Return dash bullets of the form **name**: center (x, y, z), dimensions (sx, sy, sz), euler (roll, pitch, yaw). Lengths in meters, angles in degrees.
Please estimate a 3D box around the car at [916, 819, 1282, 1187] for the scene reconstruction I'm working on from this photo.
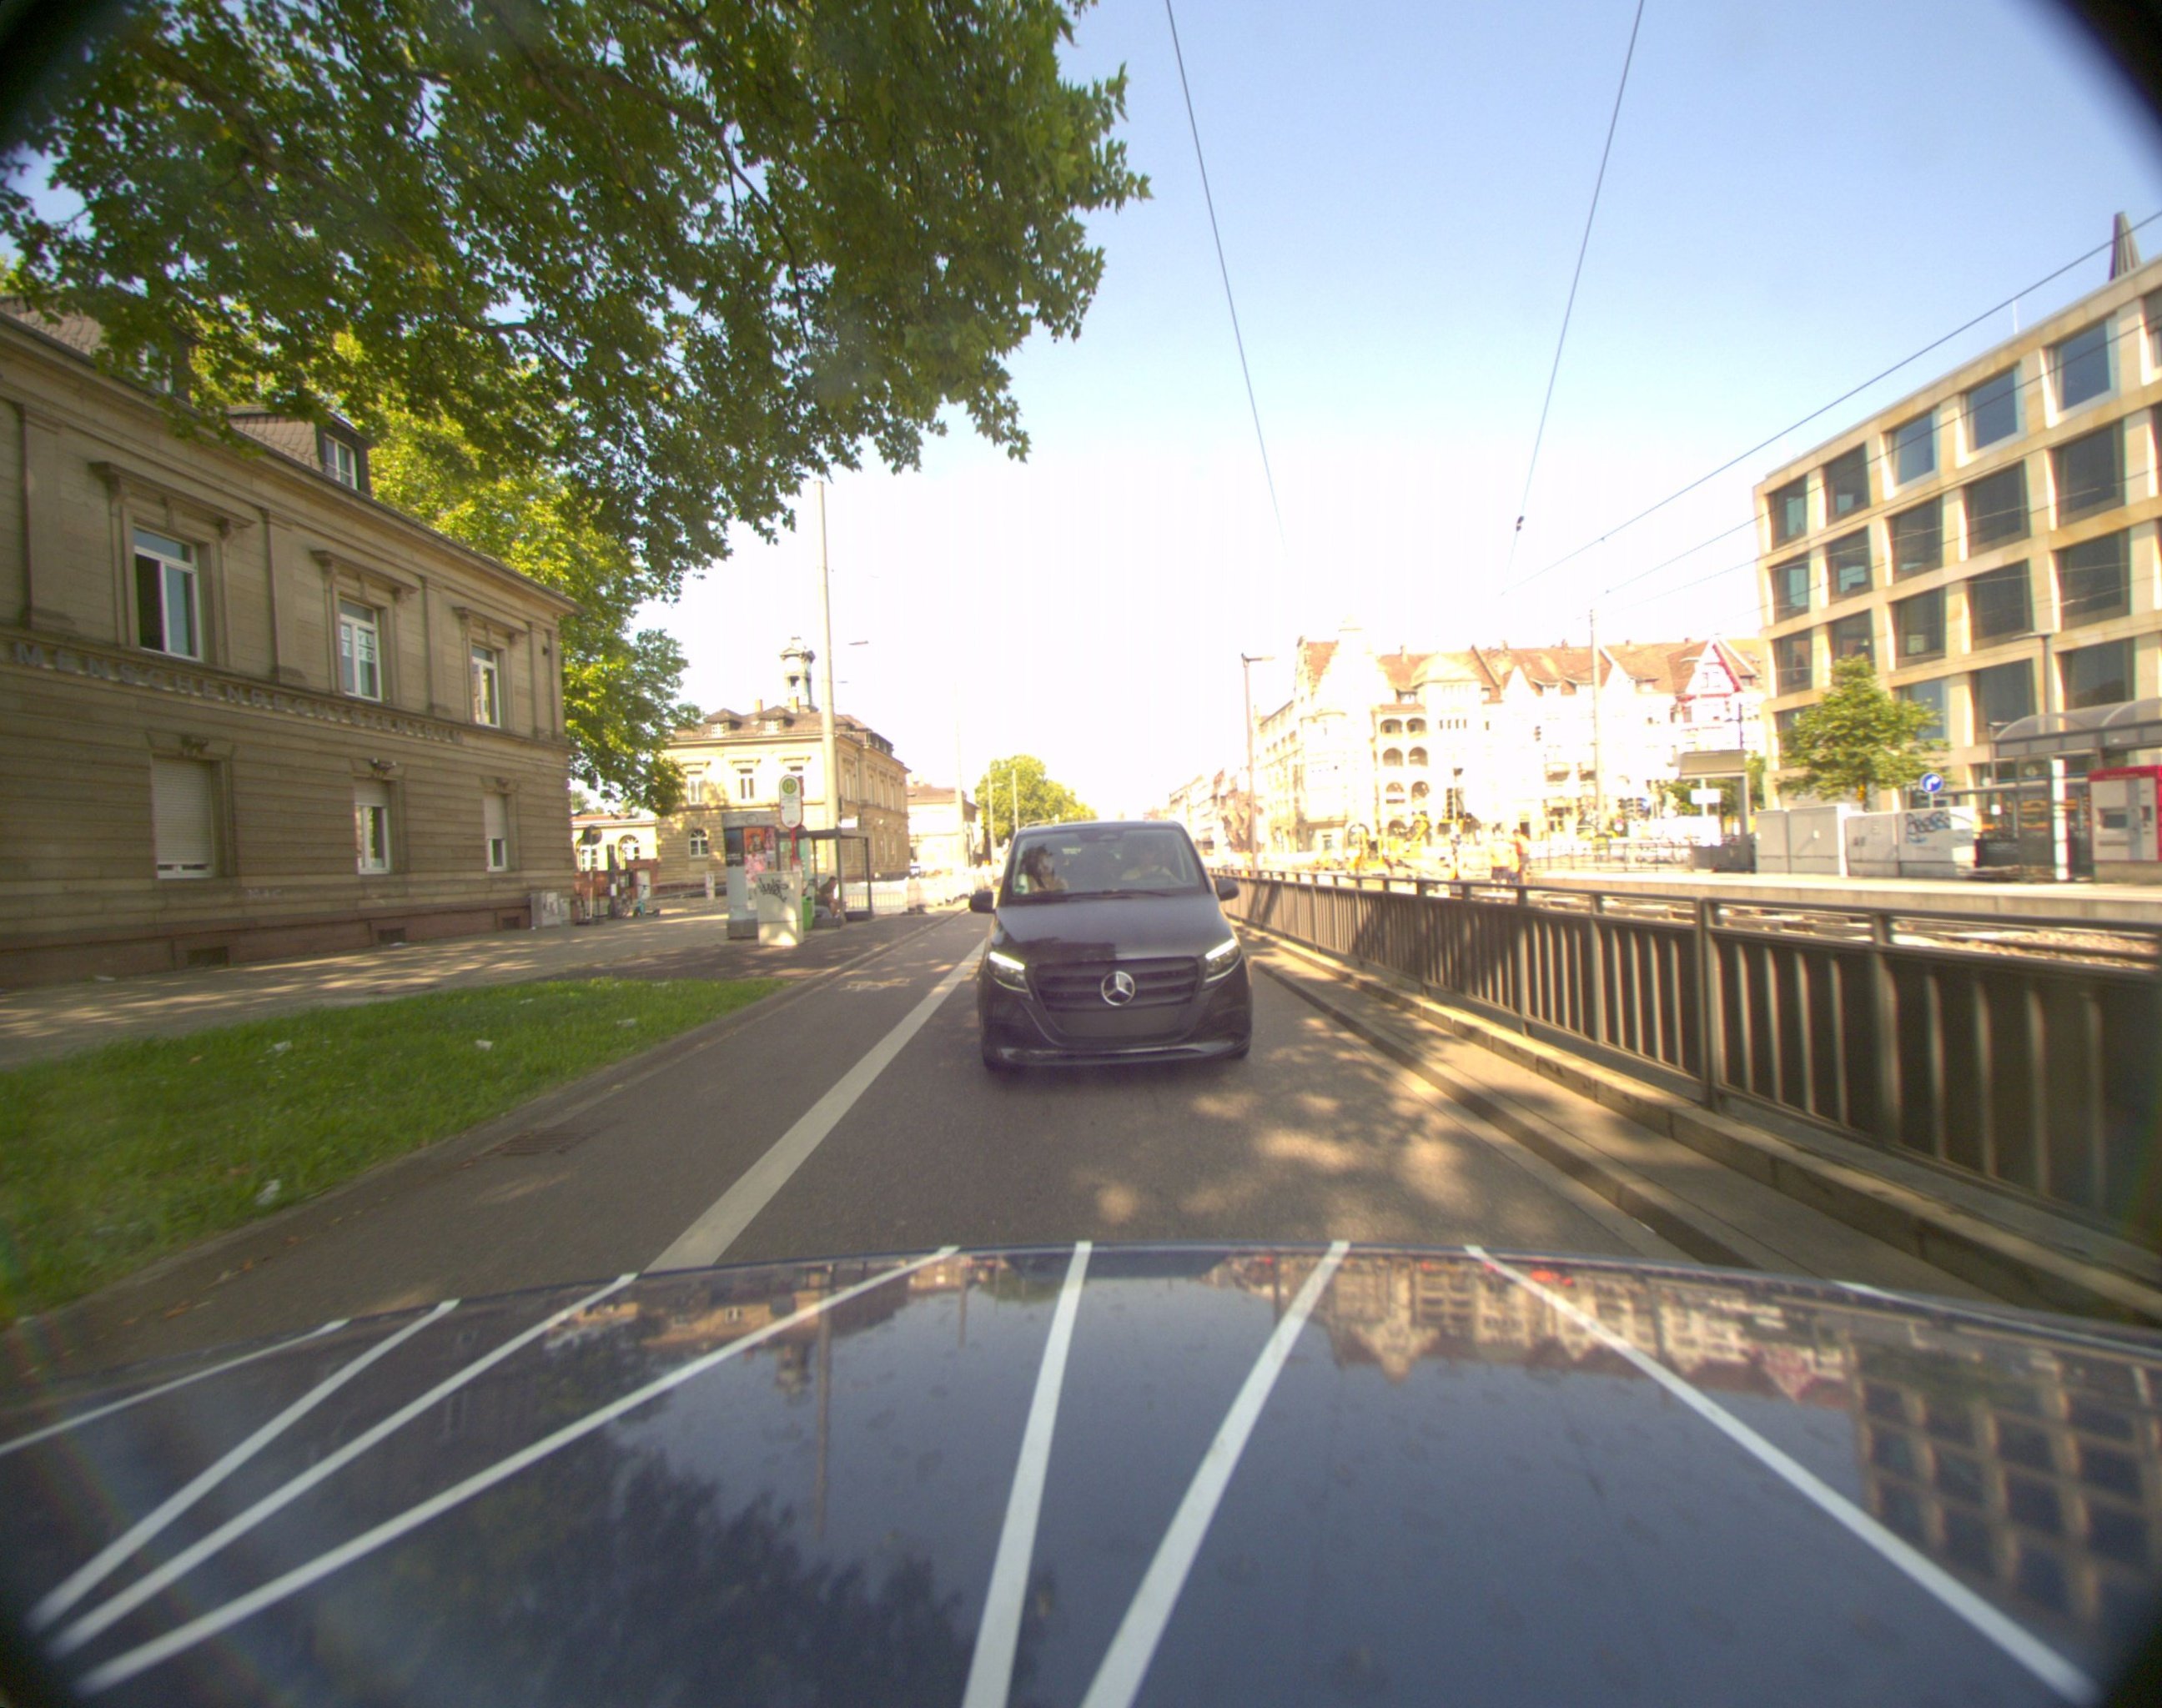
- **car**: center (0.133, 0.773, 6.129), dimensions (1.853, 1.875, 4.178), euler (-3, 1, 1)

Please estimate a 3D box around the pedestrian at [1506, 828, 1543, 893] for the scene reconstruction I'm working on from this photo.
- **pedestrian**: center (12.560, 0.186, 21.525), dimensions (0.627, 1.805, 0.639), euler (-2, 0, -32)

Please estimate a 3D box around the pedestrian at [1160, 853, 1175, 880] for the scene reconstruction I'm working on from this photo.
- **pedestrian**: center (5.094, 0.712, 44.703), dimensions (0.762, 1.557, 0.691), euler (-2, 0, 0)

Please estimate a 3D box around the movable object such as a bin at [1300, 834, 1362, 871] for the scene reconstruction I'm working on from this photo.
- **movable object such as a bin**: center (20.747, -0.112, 63.014), dimensions (4.825, 2.818, 2.443), euler (-3, 1, -37)

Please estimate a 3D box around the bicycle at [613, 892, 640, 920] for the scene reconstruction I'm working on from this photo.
- **bicycle**: center (-17.452, 1.992, 29.198), dimensions (0.493, 0.993, 1.816), euler (-3, -2, -19)

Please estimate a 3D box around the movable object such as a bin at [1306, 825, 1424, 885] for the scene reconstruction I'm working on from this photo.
- **movable object such as a bin**: center (16.402, -0.019, 44.684), dimensions (3.622, 2.941, 8.474), euler (-4, 1, 0)

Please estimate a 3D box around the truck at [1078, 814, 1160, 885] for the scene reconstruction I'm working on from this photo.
- **truck**: center (2.204, -0.172, 47.751), dimensions (2.802, 3.889, 8.410), euler (-4, 0, -12)

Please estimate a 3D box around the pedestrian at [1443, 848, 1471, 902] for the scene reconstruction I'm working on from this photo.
- **pedestrian**: center (12.020, 0.665, 24.275), dimensions (0.667, 1.653, 0.773), euler (-2, 0, 34)

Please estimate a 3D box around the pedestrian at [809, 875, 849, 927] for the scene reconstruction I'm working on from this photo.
- **pedestrian**: center (-6.557, 1.218, 19.809), dimensions (0.743, 1.254, 0.611), euler (-4, 2, 0)

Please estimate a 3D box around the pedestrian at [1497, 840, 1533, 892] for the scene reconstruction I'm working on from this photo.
- **pedestrian**: center (13.135, 0.368, 23.004), dimensions (0.642, 1.545, 0.625), euler (-2, 0, -26)

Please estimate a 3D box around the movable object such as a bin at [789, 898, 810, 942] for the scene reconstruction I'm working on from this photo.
- **movable object such as a bin**: center (-6.064, 1.426, 16.386), dimensions (0.272, 0.910, 0.386), euler (-3, 0, -2)

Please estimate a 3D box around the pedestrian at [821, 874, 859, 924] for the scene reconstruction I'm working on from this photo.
- **pedestrian**: center (-6.519, 1.202, 20.578), dimensions (0.743, 1.254, 0.611), euler (-4, 2, 0)

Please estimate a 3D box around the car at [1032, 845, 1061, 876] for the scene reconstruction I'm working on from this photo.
- **car**: center (-2.981, 0.497, 64.177), dimensions (2.213, 2.410, 7.197), euler (-2, 0, -3)

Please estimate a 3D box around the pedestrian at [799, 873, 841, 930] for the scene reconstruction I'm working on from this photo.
- **pedestrian**: center (-6.565, 1.188, 19.140), dimensions (0.752, 1.358, 0.611), euler (-4, 2, 0)

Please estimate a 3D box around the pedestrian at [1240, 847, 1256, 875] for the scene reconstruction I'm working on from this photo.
- **pedestrian**: center (9.516, 0.384, 43.276), dimensions (0.817, 1.557, 0.557), euler (-2, 0, 19)

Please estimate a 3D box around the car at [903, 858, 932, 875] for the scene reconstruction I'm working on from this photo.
- **car**: center (-19.172, 1.467, 89.444), dimensions (1.907, 1.772, 4.227), euler (-2, 0, 9)

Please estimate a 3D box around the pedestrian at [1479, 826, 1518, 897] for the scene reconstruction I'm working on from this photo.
- **pedestrian**: center (11.712, 0.204, 21.311), dimensions (0.724, 1.939, 0.789), euler (-2, 0, 15)

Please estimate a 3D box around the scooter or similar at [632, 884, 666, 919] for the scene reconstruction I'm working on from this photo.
- **scooter or similar**: center (-16.105, 1.763, 28.357), dimensions (0.426, 1.221, 1.174), euler (-2, 0, 7)

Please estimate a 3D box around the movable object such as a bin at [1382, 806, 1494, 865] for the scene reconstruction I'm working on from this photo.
- **movable object such as a bin**: center (29.125, -1.500, 62.485), dimensions (7.369, 4.323, 4.973), euler (-2, 2, 13)

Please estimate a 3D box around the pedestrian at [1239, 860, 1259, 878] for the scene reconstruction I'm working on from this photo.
- **pedestrian**: center (9.197, 0.814, 41.670), dimensions (0.513, 0.982, 0.933), euler (-2, 0, -33)

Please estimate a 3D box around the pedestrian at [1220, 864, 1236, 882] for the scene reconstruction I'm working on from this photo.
- **pedestrian**: center (7.958, 1.012, 41.069), dimensions (0.821, 0.920, 0.513), euler (-2, 0, 13)

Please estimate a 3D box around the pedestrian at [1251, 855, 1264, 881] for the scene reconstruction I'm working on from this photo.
- **pedestrian**: center (10.915, 0.849, 46.998), dimensions (0.701, 1.557, 0.557), euler (-2, 0, 16)
